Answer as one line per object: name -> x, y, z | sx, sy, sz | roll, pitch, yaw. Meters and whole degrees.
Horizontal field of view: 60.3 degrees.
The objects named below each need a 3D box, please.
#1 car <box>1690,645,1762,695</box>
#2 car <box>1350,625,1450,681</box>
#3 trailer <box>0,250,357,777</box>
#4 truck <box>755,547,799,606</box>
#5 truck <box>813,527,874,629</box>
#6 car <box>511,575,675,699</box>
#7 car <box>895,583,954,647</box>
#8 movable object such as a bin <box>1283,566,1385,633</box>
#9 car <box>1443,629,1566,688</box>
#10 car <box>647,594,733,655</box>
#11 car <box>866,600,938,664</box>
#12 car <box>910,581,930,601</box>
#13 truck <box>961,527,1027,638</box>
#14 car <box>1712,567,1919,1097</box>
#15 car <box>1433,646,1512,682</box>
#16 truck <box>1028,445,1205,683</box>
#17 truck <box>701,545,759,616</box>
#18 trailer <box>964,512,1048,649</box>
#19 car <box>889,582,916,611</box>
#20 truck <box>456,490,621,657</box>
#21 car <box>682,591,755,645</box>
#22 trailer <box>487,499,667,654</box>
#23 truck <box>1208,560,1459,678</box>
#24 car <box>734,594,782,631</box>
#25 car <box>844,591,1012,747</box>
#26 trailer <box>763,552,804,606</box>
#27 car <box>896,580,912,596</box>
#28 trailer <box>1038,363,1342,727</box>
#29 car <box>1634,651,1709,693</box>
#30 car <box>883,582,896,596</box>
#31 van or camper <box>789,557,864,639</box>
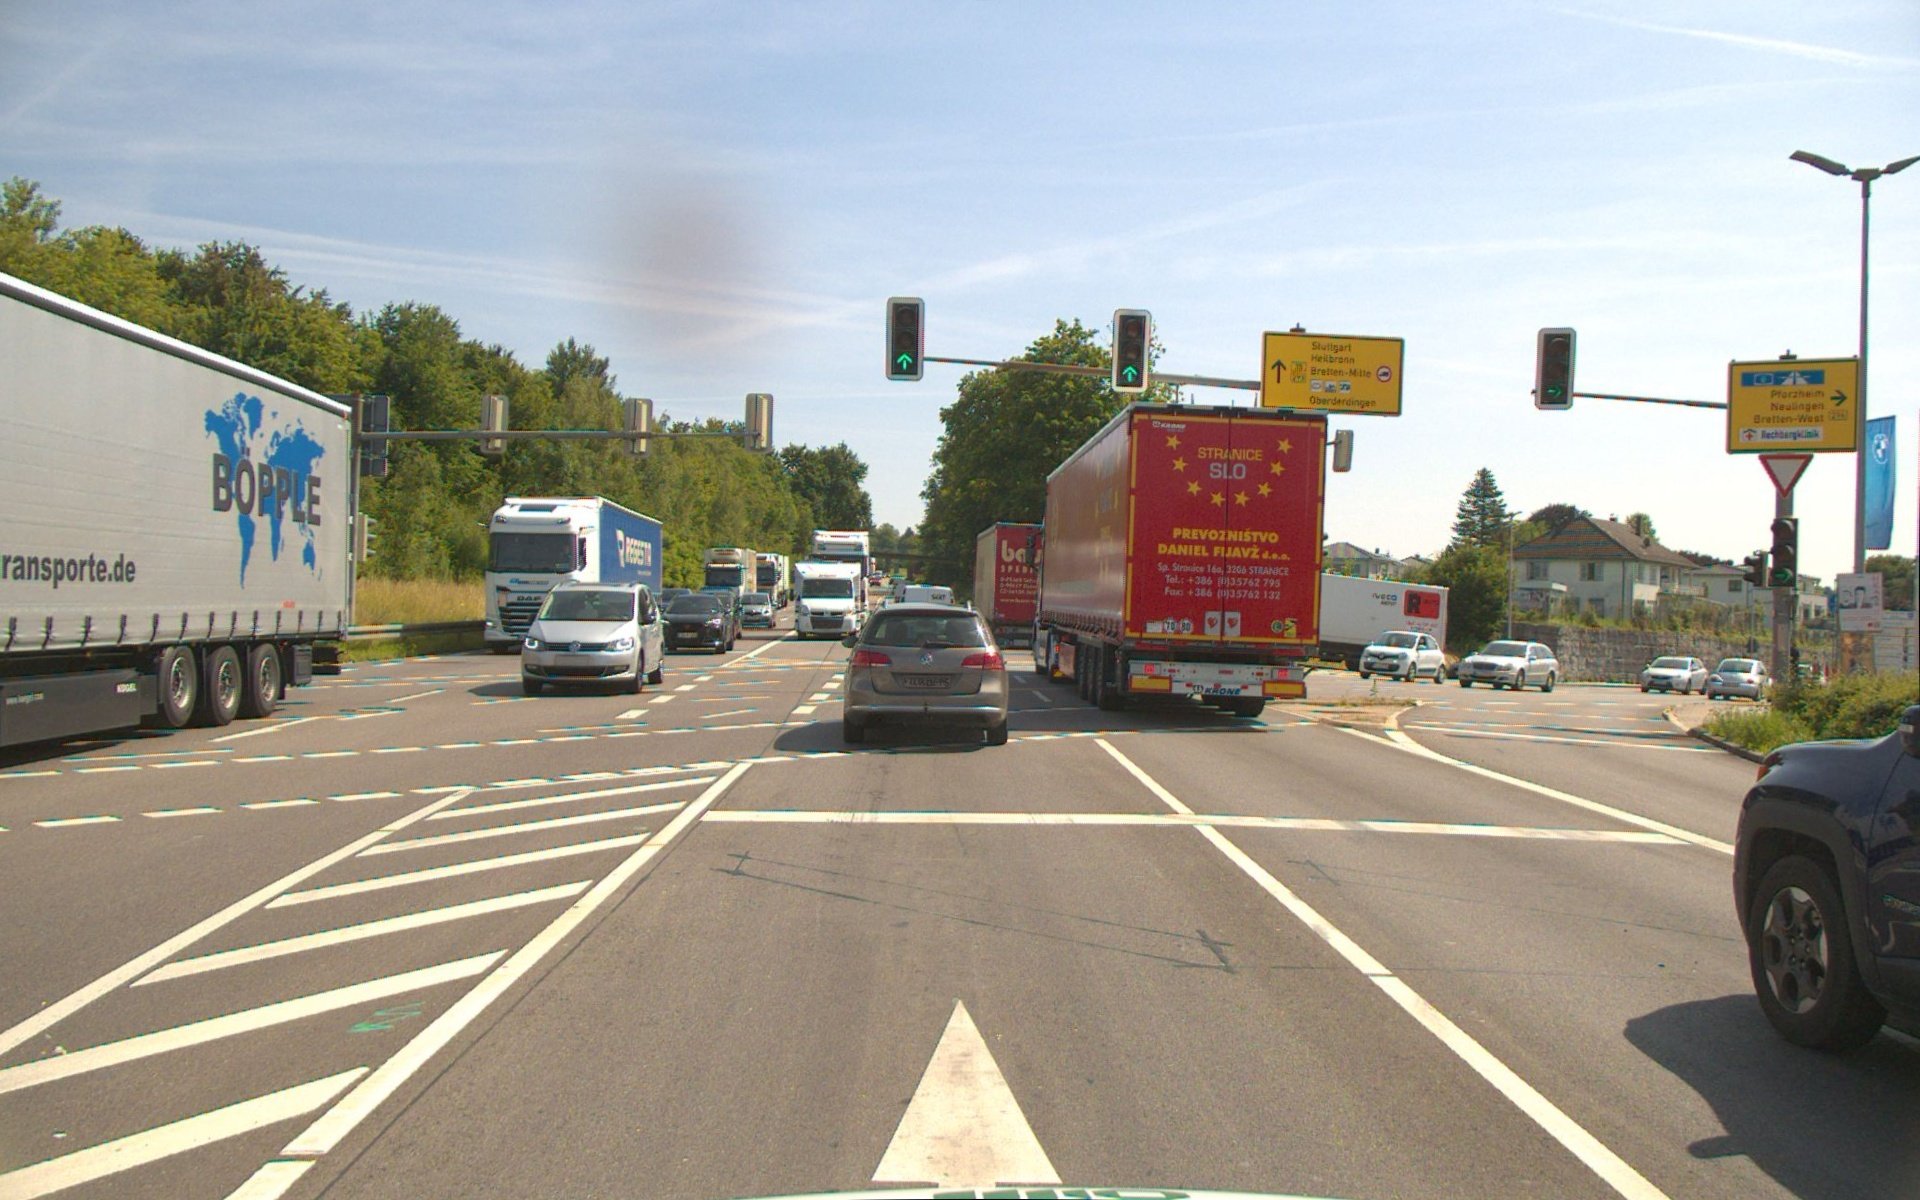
car -> 27.538, 2.495, 59.401 | 1.957, 1.602, 3.992 | 4, 0, 30
car -> 13.777, 1.664, 51.669 | 1.678, 1.530, 3.739 | 3, -1, 37
trailer -> -9.225, -0.708, 16.029 | 2.639, 4.220, 13.867 | 1, 0, -4
truck -> -13.430, -1.679, 121.933 | 2.773, 4.188, 9.675 | 1, 0, -4
truck -> -5.006, -0.914, 71.137 | 2.487, 4.159, 6.260 | 1, 0, -4
car -> -5.824, 0.522, 26.763 | 1.806, 1.763, 4.586 | 2, 1, -3
car -> -1.167, 0.465, 53.219 | 1.735, 1.970, 3.975 | 1, 0, -3
movable object such as a bin -> 19.039, -0.024, 83.970 | 2.841, 3.264, 6.684 | 0, 0, 34
car -> 16.539, 1.797, 50.115 | 1.962, 1.531, 4.977 | 3, -1, 38
car -> -7.043, 0.599, 43.533 | 1.955, 1.511, 4.449 | 1, 0, -6
car -> -1.530, 0.794, 42.557 | 1.735, 1.539, 3.997 | 1, 0, -3
car -> -4.181, -0.983, 173.917 | 1.954, 2.049, 3.997 | 1, 0, -3
truck -> 1.302, -0.671, 66.096 | 2.357, 4.200, 5.520 | 0, 0, -1
car -> 3.926, 0.744, 4.667 | 1.734, 1.683, 3.999 | 1, 0, -1
car -> 22.600, 2.837, 72.842 | 1.961, 1.486, 4.302 | 1, -2, 37
truck -> 3.066, -0.673, 34.033 | 2.812, 4.355, 5.837 | 2, 0, -1
truck -> -13.915, -1.127, 100.512 | 2.675, 4.069, 9.613 | 1, 0, -3
trailer -> 1.454, -0.634, 58.799 | 2.346, 4.317, 13.074 | 0, 0, -1
car -> -4.269, -0.269, 122.616 | 1.954, 2.049, 3.997 | 1, 0, -3
truck -> -11.201, -0.675, 44.610 | 3.124, 4.151, 6.341 | 1, 0, -3
car -> -8.214, 0.602, 56.574 | 1.953, 1.756, 3.999 | 1, 0, -1
trailer -> -11.571, -0.653, 51.641 | 3.031, 4.151, 14.118 | 1, 0, -3
truck -> 14.889, 0.778, 65.811 | 9.527, 3.690, 2.752 | 6, -2, -20
car -> -8.720, 0.519, 71.604 | 1.690, 1.528, 3.999 | 1, 0, -1
car -> -0.428, 0.681, 18.385 | 1.658, 1.539, 3.997 | 1, 0, -3
trailer -> -13.959, -1.627, 131.143 | 2.784, 4.141, 8.750 | 1, 0, -4
car -> -7.396, -1.614, 217.607 | 1.954, 2.049, 3.997 | 1, 0, -3
trailer -> 3.203, -0.699, 27.347 | 2.782, 4.441, 13.164 | 2, 0, -1
car -> 28.842, 2.921, 66.968 | 1.881, 1.524, 3.983 | 3, -1, 37
car -> -11.097, -1.708, 260.464 | 1.954, 2.049, 3.997 | 1, 0, -3
van or camper -> -4.568, -0.067, 57.599 | 2.283, 2.646, 6.975 | 1, 0, -2
